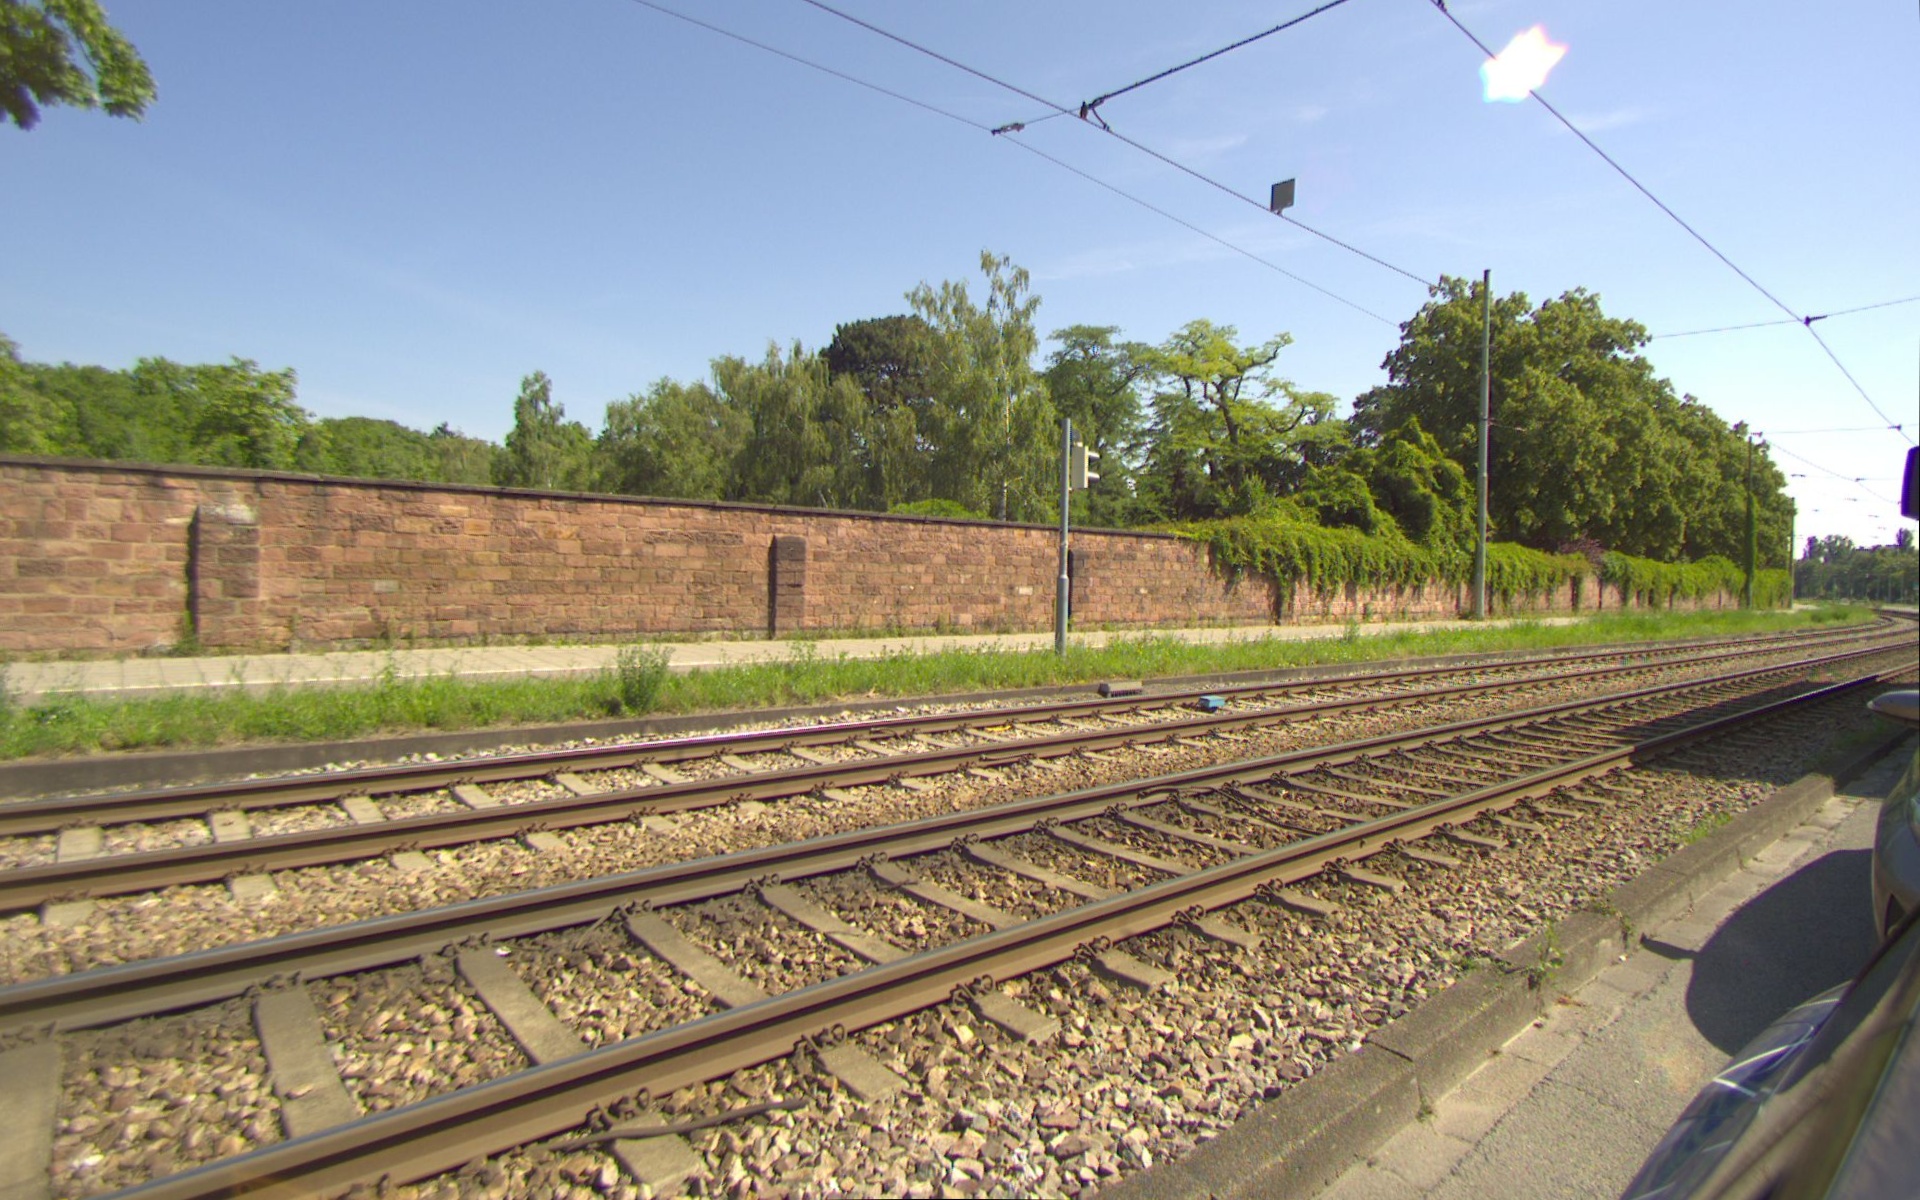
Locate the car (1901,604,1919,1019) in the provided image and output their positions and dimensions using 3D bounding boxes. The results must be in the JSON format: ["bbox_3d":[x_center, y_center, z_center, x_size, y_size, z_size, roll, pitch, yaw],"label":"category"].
[{"bbox_3d":[5.092,0.666,3.991,3.930,1.448,1.573,0,2,-41],"label":"car"}]

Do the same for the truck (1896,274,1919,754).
[{"bbox_3d":[14.268,-0.655,12.022,14.652,3.927,2.934,0,2,-41],"label":"truck"}]
